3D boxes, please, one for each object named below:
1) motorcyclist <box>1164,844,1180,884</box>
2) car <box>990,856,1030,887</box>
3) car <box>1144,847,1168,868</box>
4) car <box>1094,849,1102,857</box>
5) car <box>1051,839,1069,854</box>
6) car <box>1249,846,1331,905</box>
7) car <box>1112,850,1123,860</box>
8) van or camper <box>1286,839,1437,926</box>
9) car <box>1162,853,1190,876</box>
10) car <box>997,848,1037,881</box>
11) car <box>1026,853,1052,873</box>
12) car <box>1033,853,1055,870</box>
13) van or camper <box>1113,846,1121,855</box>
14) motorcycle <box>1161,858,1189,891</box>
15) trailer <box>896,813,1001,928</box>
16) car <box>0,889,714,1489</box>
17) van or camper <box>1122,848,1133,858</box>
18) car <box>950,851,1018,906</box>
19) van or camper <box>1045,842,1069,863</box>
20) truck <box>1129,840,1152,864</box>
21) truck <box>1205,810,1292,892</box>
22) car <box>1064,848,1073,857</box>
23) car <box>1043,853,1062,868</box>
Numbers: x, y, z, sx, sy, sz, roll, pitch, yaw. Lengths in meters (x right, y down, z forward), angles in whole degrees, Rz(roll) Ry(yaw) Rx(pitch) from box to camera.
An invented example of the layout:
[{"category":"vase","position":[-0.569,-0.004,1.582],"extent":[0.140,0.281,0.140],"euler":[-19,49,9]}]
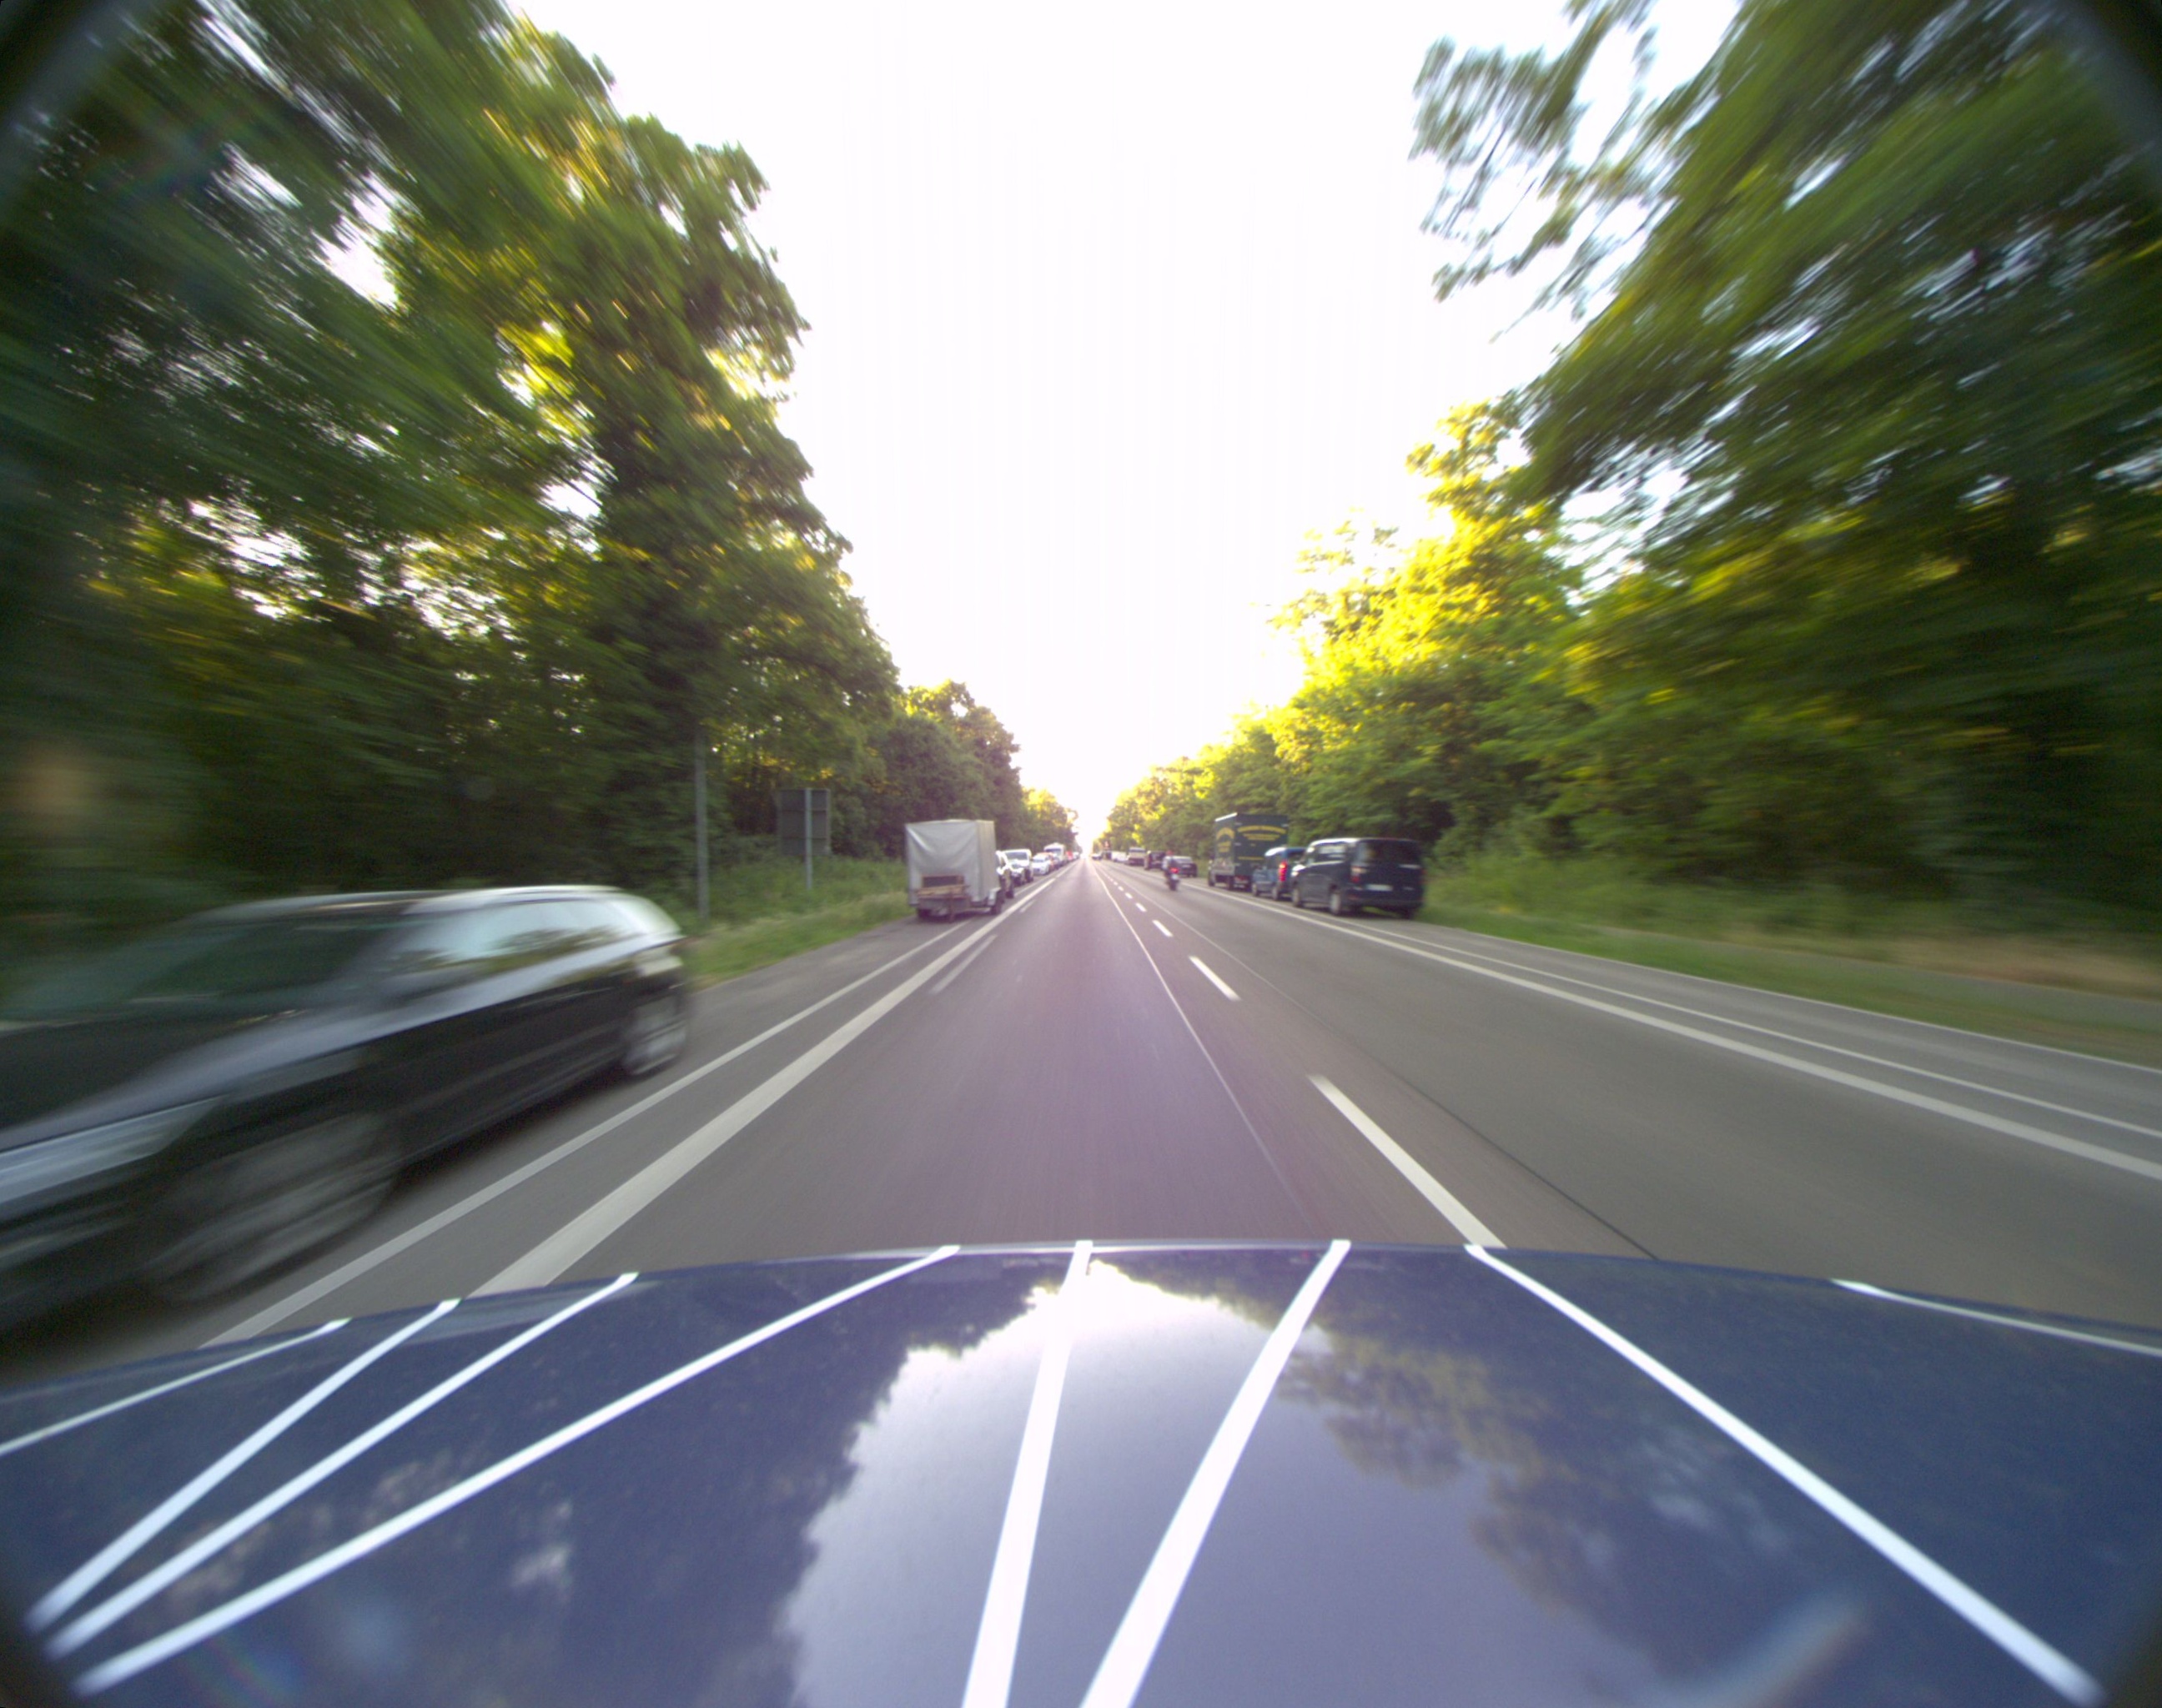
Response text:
[{"category":"motorcyclist","position":[3.767,0.408,31.342],"extent":[0.558,1.614,0.875],"euler":[0,1,1]},{"category":"car","position":[-3.682,0.871,39.892],"extent":[1.632,1.506,4.196],"euler":[0,0,1]},{"category":"car","position":[7.373,0.358,75.233],"extent":[1.852,1.948,3.934],"euler":[3,0,-1]},{"category":"car","position":[4.518,-0.240,198.902],"extent":[1.998,1.849,3.999],"euler":[-2,1,1]},{"category":"car","position":[-3.137,-1.107,113.964],"extent":[2.537,2.270,5.554],"euler":[0,0,1]},{"category":"car","position":[7.102,0.667,26.195],"extent":[1.607,1.816,3.758],"euler":[3,0,-2]},{"category":"car","position":[7.560,0.113,156.459],"extent":[1.998,1.893,3.999],"euler":[-2,1,1]},{"category":"van or camper","position":[7.157,0.648,19.981],"extent":[2.034,1.945,4.691],"euler":[3,0,-2]},{"category":"car","position":[6.651,0.718,53.293],"extent":[1.606,1.495,3.760],"euler":[3,0,3]},{"category":"car","position":[-3.804,0.593,45.644],"extent":[1.976,1.908,4.196],"euler":[0,0,1]},{"category":"car","position":[-3.464,0.703,62.688],"extent":[1.844,1.585,4.196],"euler":[0,0,1]},{"category":"car","position":[-3.457,0.695,71.526],"extent":[1.844,1.585,4.196],"euler":[0,0,1]},{"category":"van or camper","position":[8.557,-0.857,181.739],"extent":[1.844,2.264,4.196],"euler":[0,0,1]},{"category":"motorcycle","position":[3.860,0.816,31.371],"extent":[0.842,1.301,2.433],"euler":[0,0,1]},{"category":"trailer","position":[-3.306,0.358,19.870],"extent":[1.866,2.633,4.269],"euler":[-2,1,0]},{"category":"car","position":[-3.887,1.072,4.078],"extent":[1.607,1.468,4.533],"euler":[-3,0,-1]},{"category":"van or camper","position":[8.685,-0.168,143.284],"extent":[1.844,1.965,4.196],"euler":[0,0,1]},{"category":"car","position":[-3.266,0.763,26.346],"extent":[1.754,1.731,4.196],"euler":[0,0,1]},{"category":"van or camper","position":[-3.249,-0.207,104.272],"extent":[3.015,2.704,6.959],"euler":[0,0,1]},{"category":"truck","position":[8.138,-0.321,104.805],"extent":[2.654,3.039,5.800],"euler":[-2,1,1]},{"category":"truck","position":[7.160,-0.132,33.337],"extent":[2.226,3.189,6.270],"euler":[3,0,-1]},{"category":"car","position":[-2.609,-0.349,163.042],"extent":[1.844,2.007,4.196],"euler":[0,0,1]},{"category":"car","position":[-3.096,0.673,83.759],"extent":[1.844,1.585,4.196],"euler":[0,0,1]}]
